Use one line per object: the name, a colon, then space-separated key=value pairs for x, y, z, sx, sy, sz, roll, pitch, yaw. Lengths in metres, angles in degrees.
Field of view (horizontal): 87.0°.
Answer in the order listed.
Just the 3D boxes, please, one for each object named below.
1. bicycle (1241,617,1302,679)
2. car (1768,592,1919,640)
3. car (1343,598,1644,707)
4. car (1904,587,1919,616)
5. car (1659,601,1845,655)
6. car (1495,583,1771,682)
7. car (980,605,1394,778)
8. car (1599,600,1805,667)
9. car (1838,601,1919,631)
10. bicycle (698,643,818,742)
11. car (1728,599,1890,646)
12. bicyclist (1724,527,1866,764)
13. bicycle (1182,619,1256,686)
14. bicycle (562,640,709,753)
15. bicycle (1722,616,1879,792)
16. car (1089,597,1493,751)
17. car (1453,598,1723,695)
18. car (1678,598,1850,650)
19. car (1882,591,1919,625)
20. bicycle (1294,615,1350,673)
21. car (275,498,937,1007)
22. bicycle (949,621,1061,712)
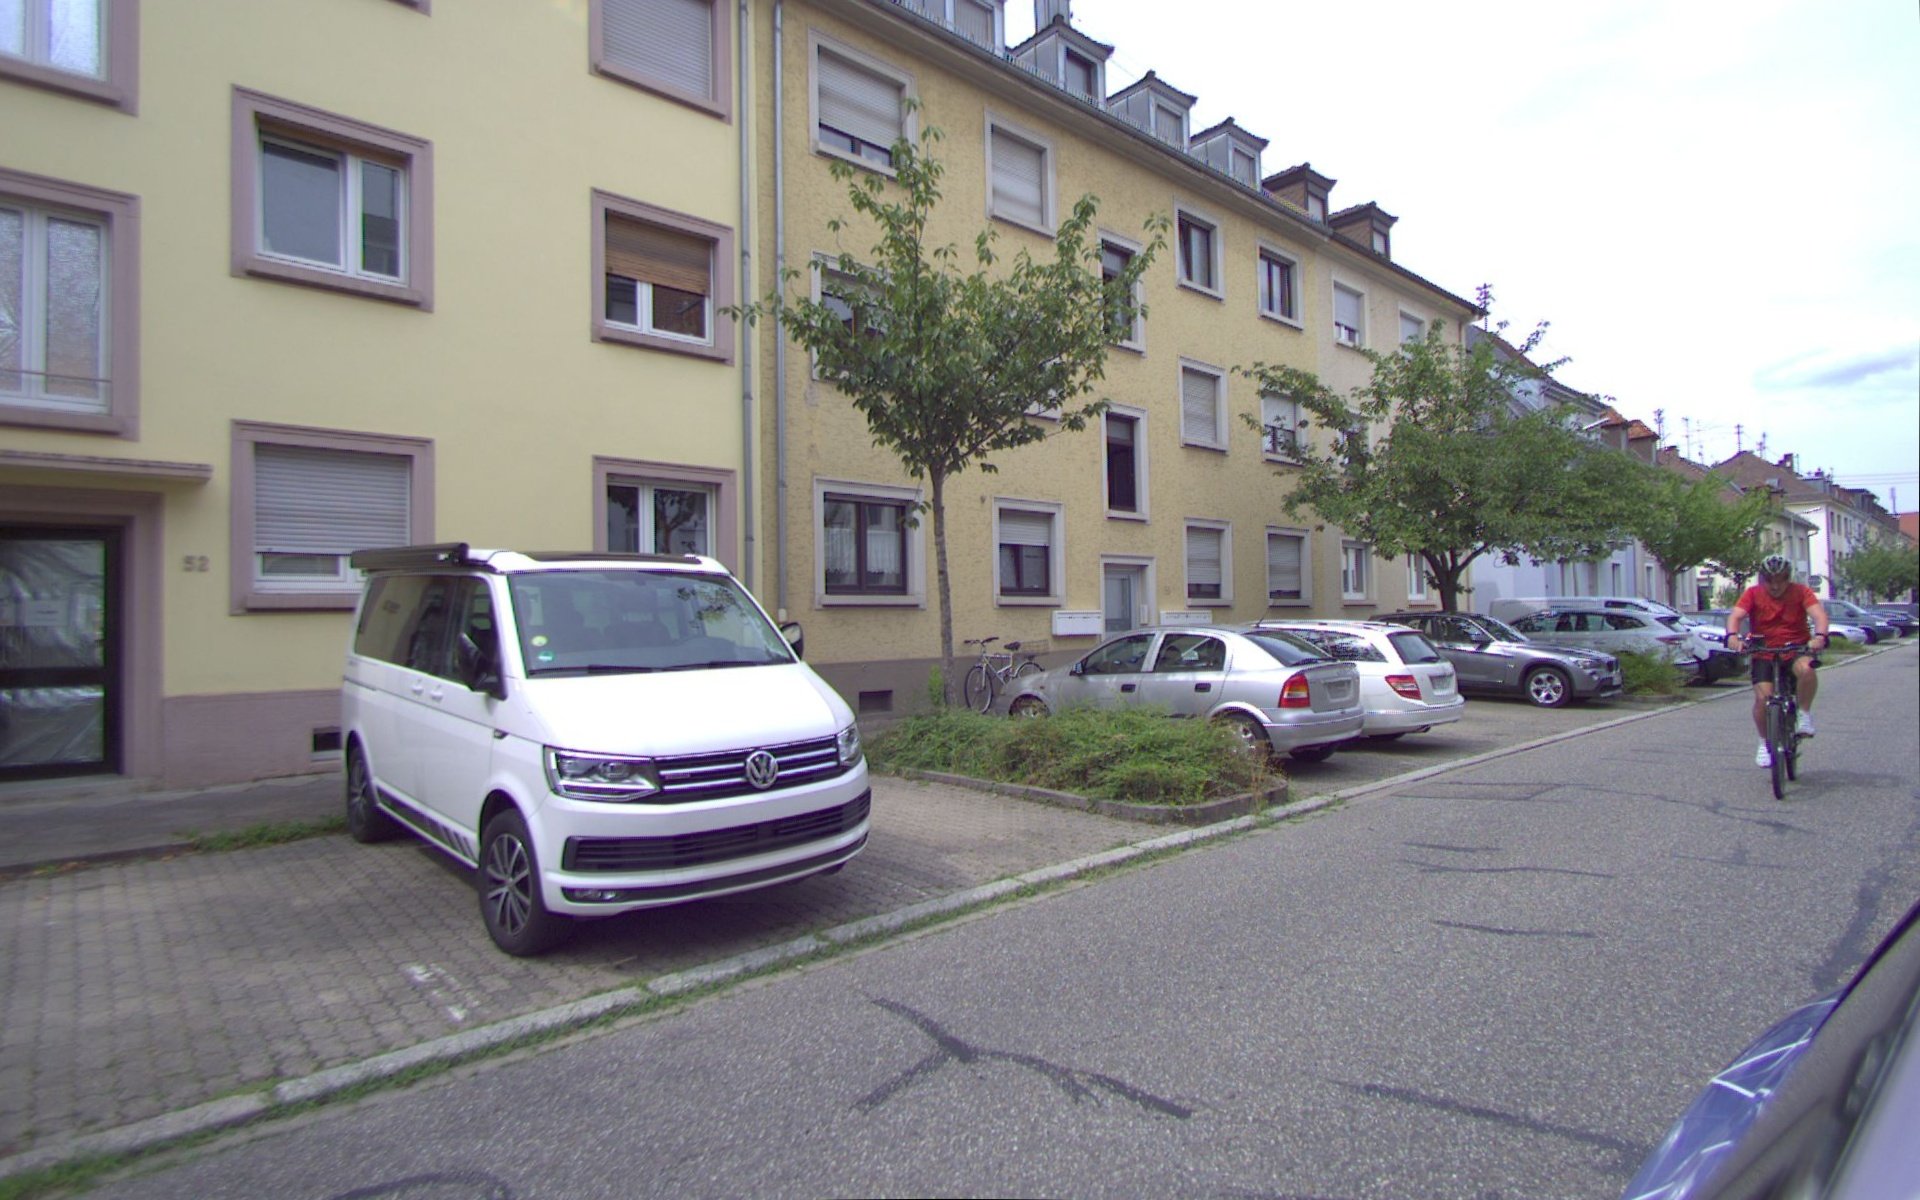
bicycle: x=6.289 y=0.949 z=20.402 sx=1.608 sy=1.154 sz=0.479 roll=-1 pitch=1 yaw=-44
car: x=37.345 y=0.621 z=42.815 sx=1.839 sy=1.850 sz=4.715 roll=0 pitch=1 yaw=-41
car: x=9.190 y=0.801 z=17.711 sx=1.819 sy=1.618 sz=4.314 roll=0 pitch=1 yaw=-42
car: x=58.283 y=0.087 z=61.053 sx=3.385 sy=1.698 sz=1.643 roll=0 pitch=-2 yaw=-43
car: x=24.708 y=0.820 z=31.710 sx=1.682 sy=1.519 sz=4.397 roll=0 pitch=1 yaw=-43
car: x=14.548 y=0.603 z=22.108 sx=1.819 sy=1.934 sz=4.745 roll=0 pitch=1 yaw=-42
car: x=2.284 y=0.807 z=10.985 sx=1.820 sy=1.432 sz=4.096 roll=-1 pitch=1 yaw=-43
car: x=19.234 y=0.802 z=26.370 sx=1.682 sy=1.556 sz=4.114 roll=0 pitch=1 yaw=-43
car: x=47.986 y=0.819 z=52.574 sx=1.620 sy=1.466 sz=3.432 roll=0 pitch=-2 yaw=-45
bicycle: x=-2.443 y=1.093 z=12.337 sx=1.430 sy=1.064 sz=0.450 roll=-1 pitch=1 yaw=-44
car: x=31.306 y=0.780 z=37.406 sx=1.839 sy=1.556 sz=4.399 roll=0 pitch=1 yaw=-42
bicyclist: x=6.805 y=0.347 z=8.246 sx=0.969 sy=1.793 sz=0.693 roll=0 pitch=-2 yaw=-42
bicycle: x=4.913 y=0.967 z=19.143 sx=1.727 sy=1.154 sz=0.537 roll=-1 pitch=1 yaw=-44
bicycle: x=-3.626 y=1.044 z=11.390 sx=1.544 sy=1.120 sz=0.450 roll=-1 pitch=1 yaw=-44
bicycle: x=6.898 y=0.779 z=8.270 sx=1.904 sy=1.243 sz=0.692 roll=-1 pitch=-2 yaw=-42
car: x=3.958 y=0.755 z=12.730 sx=1.820 sy=1.529 sz=4.551 roll=0 pitch=1 yaw=-43
car: x=12.524 y=0.829 z=20.407 sx=1.819 sy=1.705 sz=4.314 roll=0 pitch=1 yaw=-42
car: x=27.915 y=0.760 z=35.272 sx=1.836 sy=1.632 sz=4.405 roll=0 pitch=1 yaw=-36
car: x=52.873 y=0.449 z=56.563 sx=3.385 sy=1.851 sz=1.643 roll=0 pitch=-2 yaw=-43
bicycle: x=7.804 y=0.930 z=21.768 sx=1.608 sy=1.154 sz=0.479 roll=-1 pitch=1 yaw=-44
car: x=-2.689 y=0.575 z=6.654 sx=5.230 sy=2.048 sz=2.040 roll=1 pitch=1 yaw=45
bicycle: x=0.696 y=0.958 z=15.154 sx=1.845 sy=1.214 sz=0.586 roll=-1 pitch=1 yaw=-44
